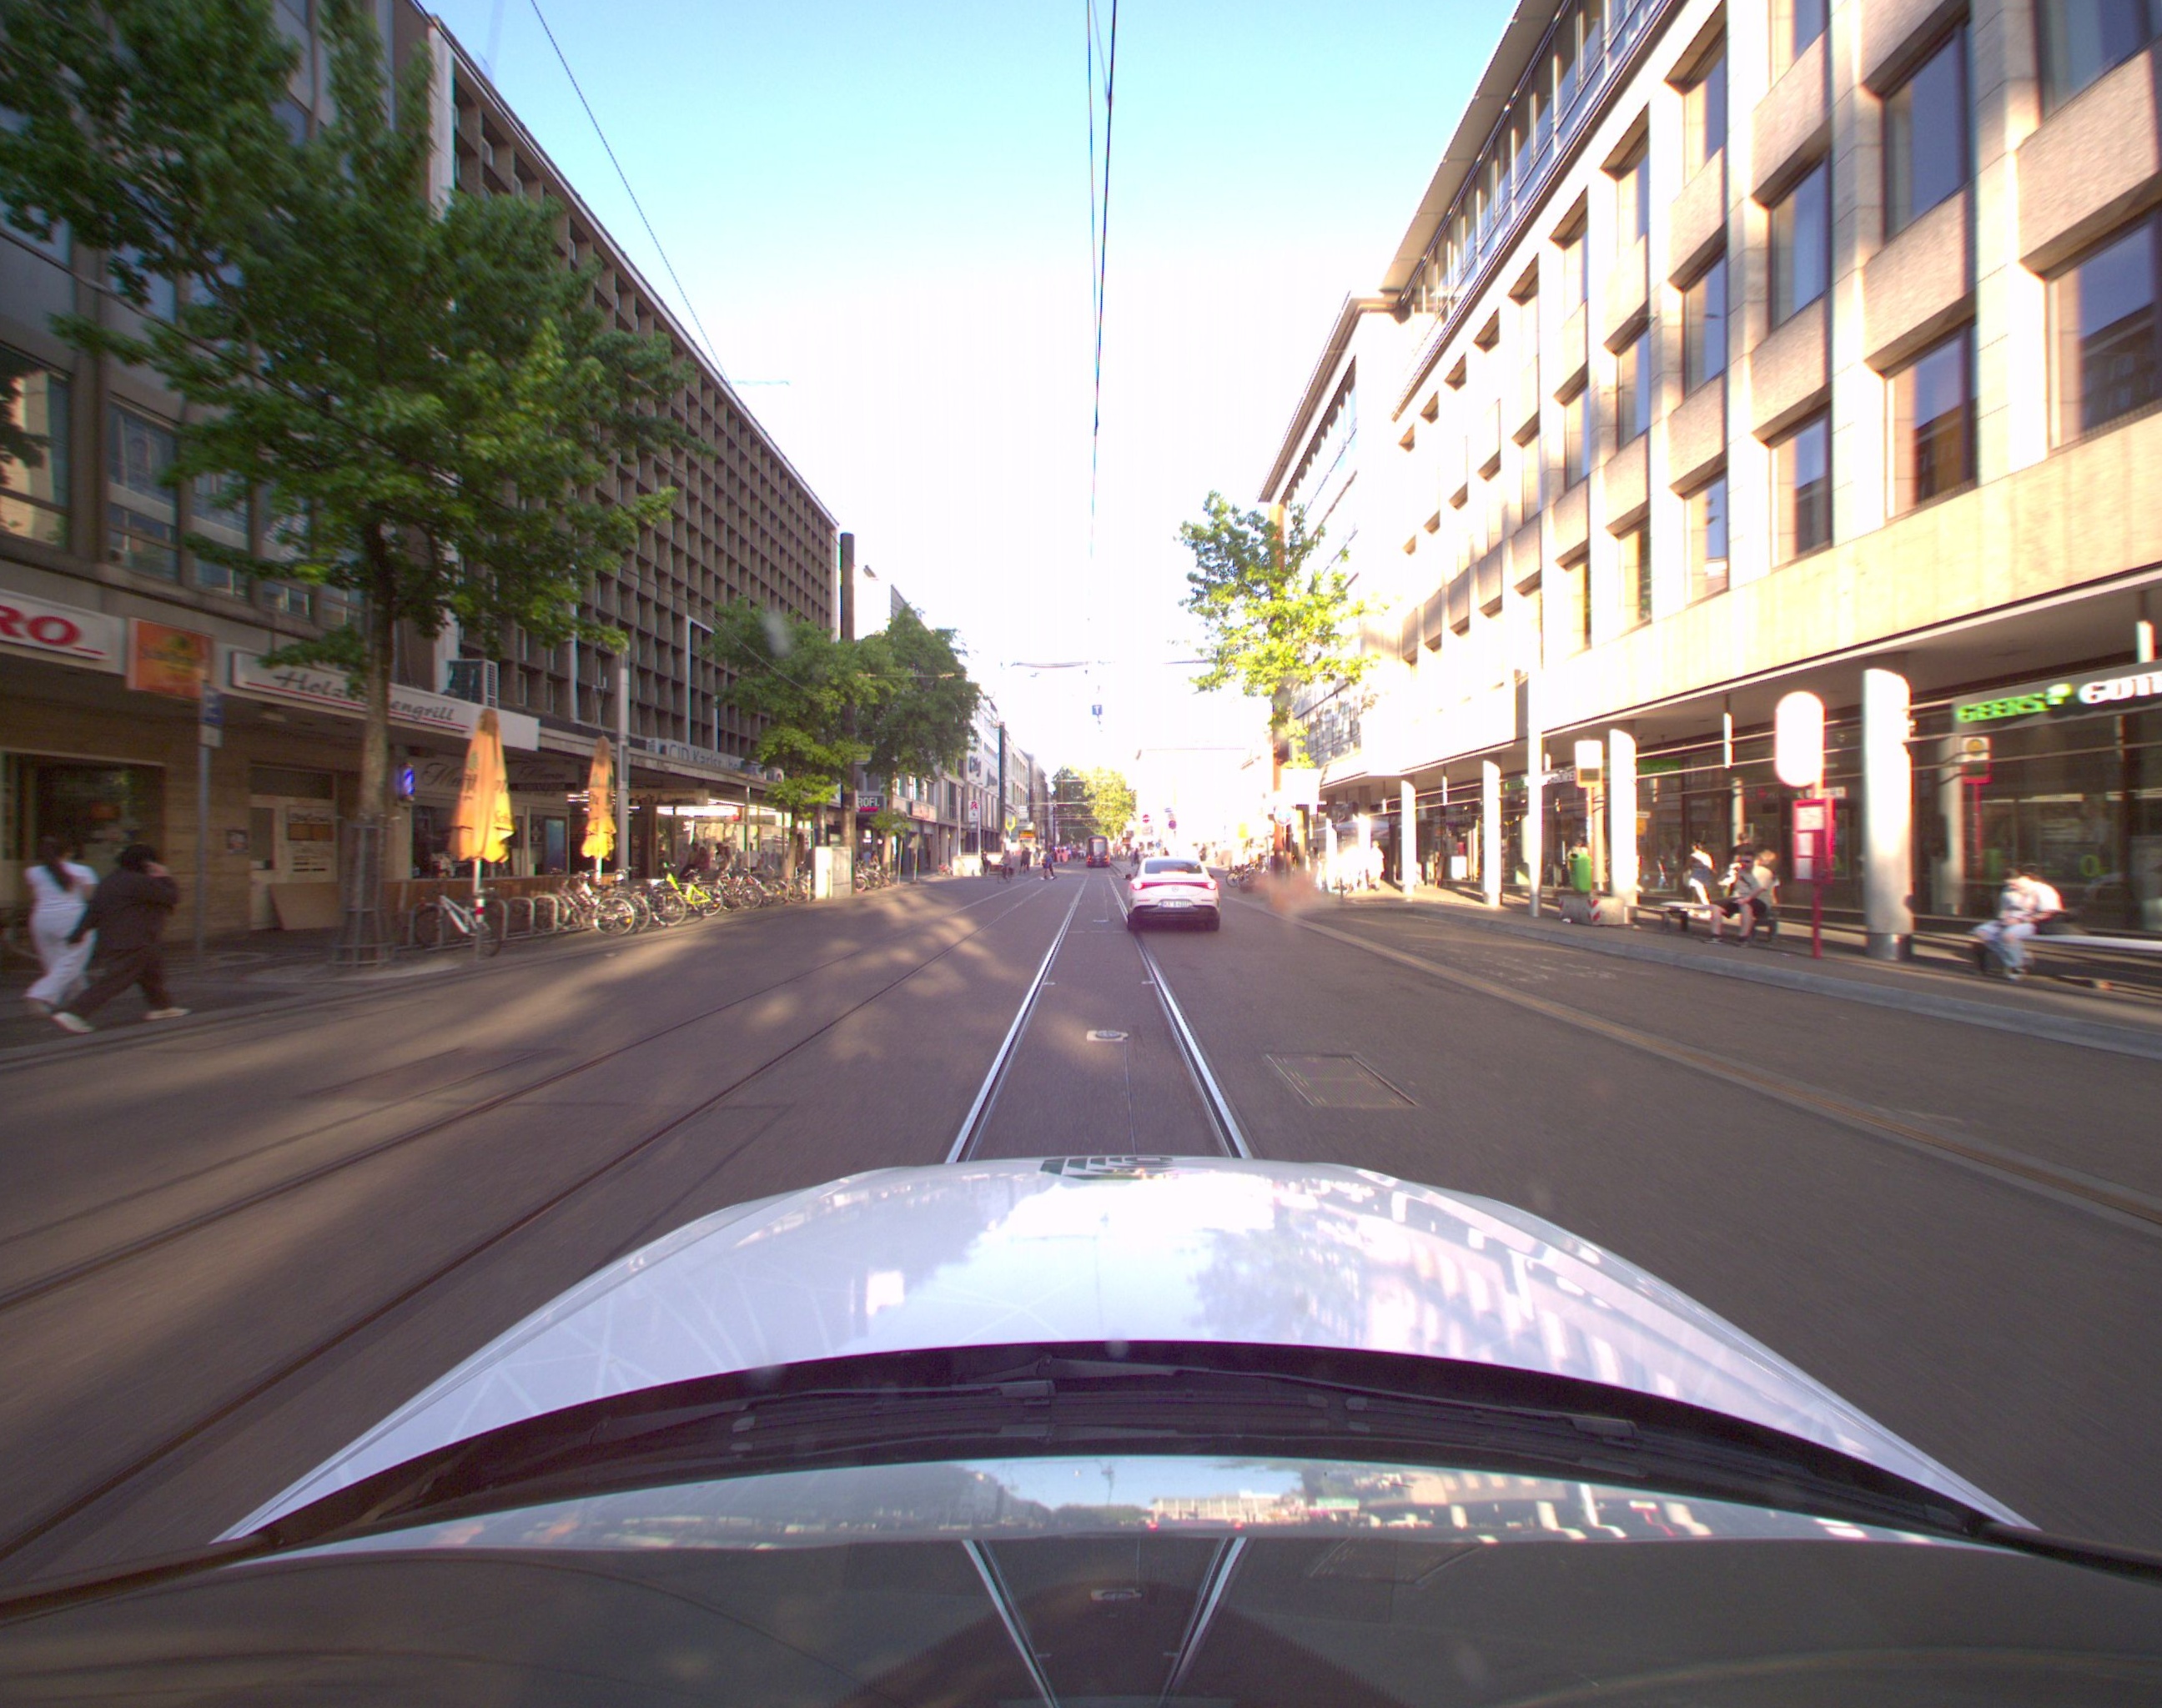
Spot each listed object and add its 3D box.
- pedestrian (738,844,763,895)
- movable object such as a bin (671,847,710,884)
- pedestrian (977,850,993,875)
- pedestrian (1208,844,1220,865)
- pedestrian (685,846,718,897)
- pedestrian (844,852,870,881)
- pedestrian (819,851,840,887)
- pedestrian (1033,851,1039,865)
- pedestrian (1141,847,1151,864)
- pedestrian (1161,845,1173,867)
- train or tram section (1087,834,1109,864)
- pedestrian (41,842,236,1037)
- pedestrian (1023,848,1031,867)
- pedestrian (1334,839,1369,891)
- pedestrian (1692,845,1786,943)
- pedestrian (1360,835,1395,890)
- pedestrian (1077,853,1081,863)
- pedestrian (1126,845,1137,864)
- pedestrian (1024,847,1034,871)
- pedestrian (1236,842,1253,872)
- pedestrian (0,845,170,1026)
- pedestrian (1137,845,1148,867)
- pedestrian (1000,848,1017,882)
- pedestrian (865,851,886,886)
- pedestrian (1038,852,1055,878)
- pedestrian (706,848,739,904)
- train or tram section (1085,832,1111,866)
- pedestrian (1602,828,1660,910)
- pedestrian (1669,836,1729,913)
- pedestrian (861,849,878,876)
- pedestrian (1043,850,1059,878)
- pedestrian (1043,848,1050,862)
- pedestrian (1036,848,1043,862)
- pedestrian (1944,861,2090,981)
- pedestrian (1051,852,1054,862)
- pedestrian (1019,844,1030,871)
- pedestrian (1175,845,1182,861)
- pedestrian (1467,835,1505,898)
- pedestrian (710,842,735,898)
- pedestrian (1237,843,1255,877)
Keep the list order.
[{"bbox_3d":[-11.638,0.551,28.711,0.789,1.766,0.533,-1,0,-24],"label":"pedestrian"},{"bbox_3d":[-11.531,0.328,24.048,0.713,1.039,0.980,-1,0,-5],"label":"movable object such as a bin"},{"bbox_3d":[-6.460,0.568,54.845,0.842,1.717,0.778,-1,0,-27],"label":"pedestrian"},{"bbox_3d":[11.156,0.037,68.344,0.815,1.685,0.804,-2,0,0],"label":"pedestrian"},{"bbox_3d":[-11.595,0.527,24.889,0.713,1.547,0.683,-1,0,-5],"label":"pedestrian"},{"bbox_3d":[-12.627,0.692,45.921,0.968,1.562,1.020,-1,0,40],"label":"pedestrian"},{"bbox_3d":[-12.337,0.737,39.961,0.813,1.761,0.779,-1,0,-1],"label":"pedestrian"},{"bbox_3d":[-5.423,0.465,98.090,0.658,1.599,0.573,-1,0,0],"label":"pedestrian"},{"bbox_3d":[7.105,0.184,88.711,0.957,1.785,0.804,-2,0,0],"label":"pedestrian"},{"bbox_3d":[6.570,0.160,62.434,0.834,1.662,0.786,-1,0,3],"label":"pedestrian"},{"bbox_3d":[2.211,-0.646,104.827,2.685,3.516,12.548,-1,0,1],"label":"train or tram section"},{"bbox_3d":[-8.010,0.684,6.961,0.620,1.550,0.852,2,0,2],"label":"pedestrian"},{"bbox_3d":[-4.486,0.297,67.944,0.613,1.545,0.650,-1,0,-1],"label":"pedestrian"},{"bbox_3d":[9.397,0.382,28.314,0.897,1.744,0.690,-4,0,0],"label":"pedestrian"},{"bbox_3d":[9.694,0.562,12.014,0.836,1.377,0.772,0,0,-21],"label":"pedestrian"},{"bbox_3d":[10.163,0.291,27.961,0.699,1.812,1.033,-4,0,1],"label":"pedestrian"},{"bbox_3d":[-0.361,0.605,134.472,0.602,1.630,0.531,-1,0,1],"label":"pedestrian"},{"bbox_3d":[4.643,0.043,74.879,0.957,1.785,0.804,-2,0,0],"label":"pedestrian"},{"bbox_3d":[-3.878,0.370,60.404,0.544,1.760,0.524,-1,0,29],"label":"pedestrian"},{"bbox_3d":[10.085,0.171,50.370,0.838,1.785,0.804,-2,0,0],"label":"pedestrian"},{"bbox_3d":[-8.946,0.686,7.276,0.620,1.509,0.833,2,0,2],"label":"pedestrian"},{"bbox_3d":[4.646,0.140,61.713,0.744,1.698,0.840,-1,0,-2],"label":"pedestrian"},{"bbox_3d":[-3.858,0.555,43.154,0.797,1.782,0.849,1,0,0],"label":"pedestrian"},{"bbox_3d":[-9.843,0.681,39.029,0.747,1.623,0.980,-1,0,-2],"label":"pedestrian"},{"bbox_3d":[-2.052,0.655,48.624,0.952,1.496,0.944,-1,0,2],"label":"pedestrian"},{"bbox_3d":[-10.860,0.657,24.704,0.713,1.639,0.683,-1,0,-5],"label":"pedestrian"},{"bbox_3d":[1.909,-0.588,92.274,2.685,3.516,12.548,-1,0,1],"label":"train or tram section"},{"bbox_3d":[12.106,0.320,17.932,0.713,1.741,0.835,-1,0,1],"label":"pedestrian"},{"bbox_3d":[12.738,0.409,16.802,0.640,1.541,0.796,-1,0,1],"label":"pedestrian"},{"bbox_3d":[-13.716,0.561,52.937,0.819,1.706,0.980,-1,0,-1],"label":"pedestrian"},{"bbox_3d":[-1.810,0.595,49.487,0.901,1.698,0.849,-1,0,2],"label":"pedestrian"},{"bbox_3d":[-3.772,0.107,88.606,0.658,1.599,0.573,-1,0,0],"label":"pedestrian"},{"bbox_3d":[-4.490,0.112,88.537,0.658,1.599,0.573,-1,0,0],"label":"pedestrian"},{"bbox_3d":[9.880,0.676,8.632,0.663,1.198,0.786,0,0,6],"label":"pedestrian"},{"bbox_3d":[-4.410,0.472,128.104,0.412,1.630,0.606,-1,0,1],"label":"pedestrian"},{"bbox_3d":[-4.040,0.273,58.545,0.534,1.929,0.576,-1,0,45],"label":"pedestrian"},{"bbox_3d":[10.996,-0.100,91.679,0.724,1.785,0.707,-1,0,0],"label":"pedestrian"},{"bbox_3d":[10.746,0.322,21.613,0.634,1.653,0.781,-1,0,2],"label":"pedestrian"},{"bbox_3d":[-11.497,0.512,26.134,0.717,1.766,0.679,-1,0,-23],"label":"pedestrian"},{"bbox_3d":[8.876,0.318,43.934,0.746,1.785,0.767,-2,0,0],"label":"pedestrian"}]
